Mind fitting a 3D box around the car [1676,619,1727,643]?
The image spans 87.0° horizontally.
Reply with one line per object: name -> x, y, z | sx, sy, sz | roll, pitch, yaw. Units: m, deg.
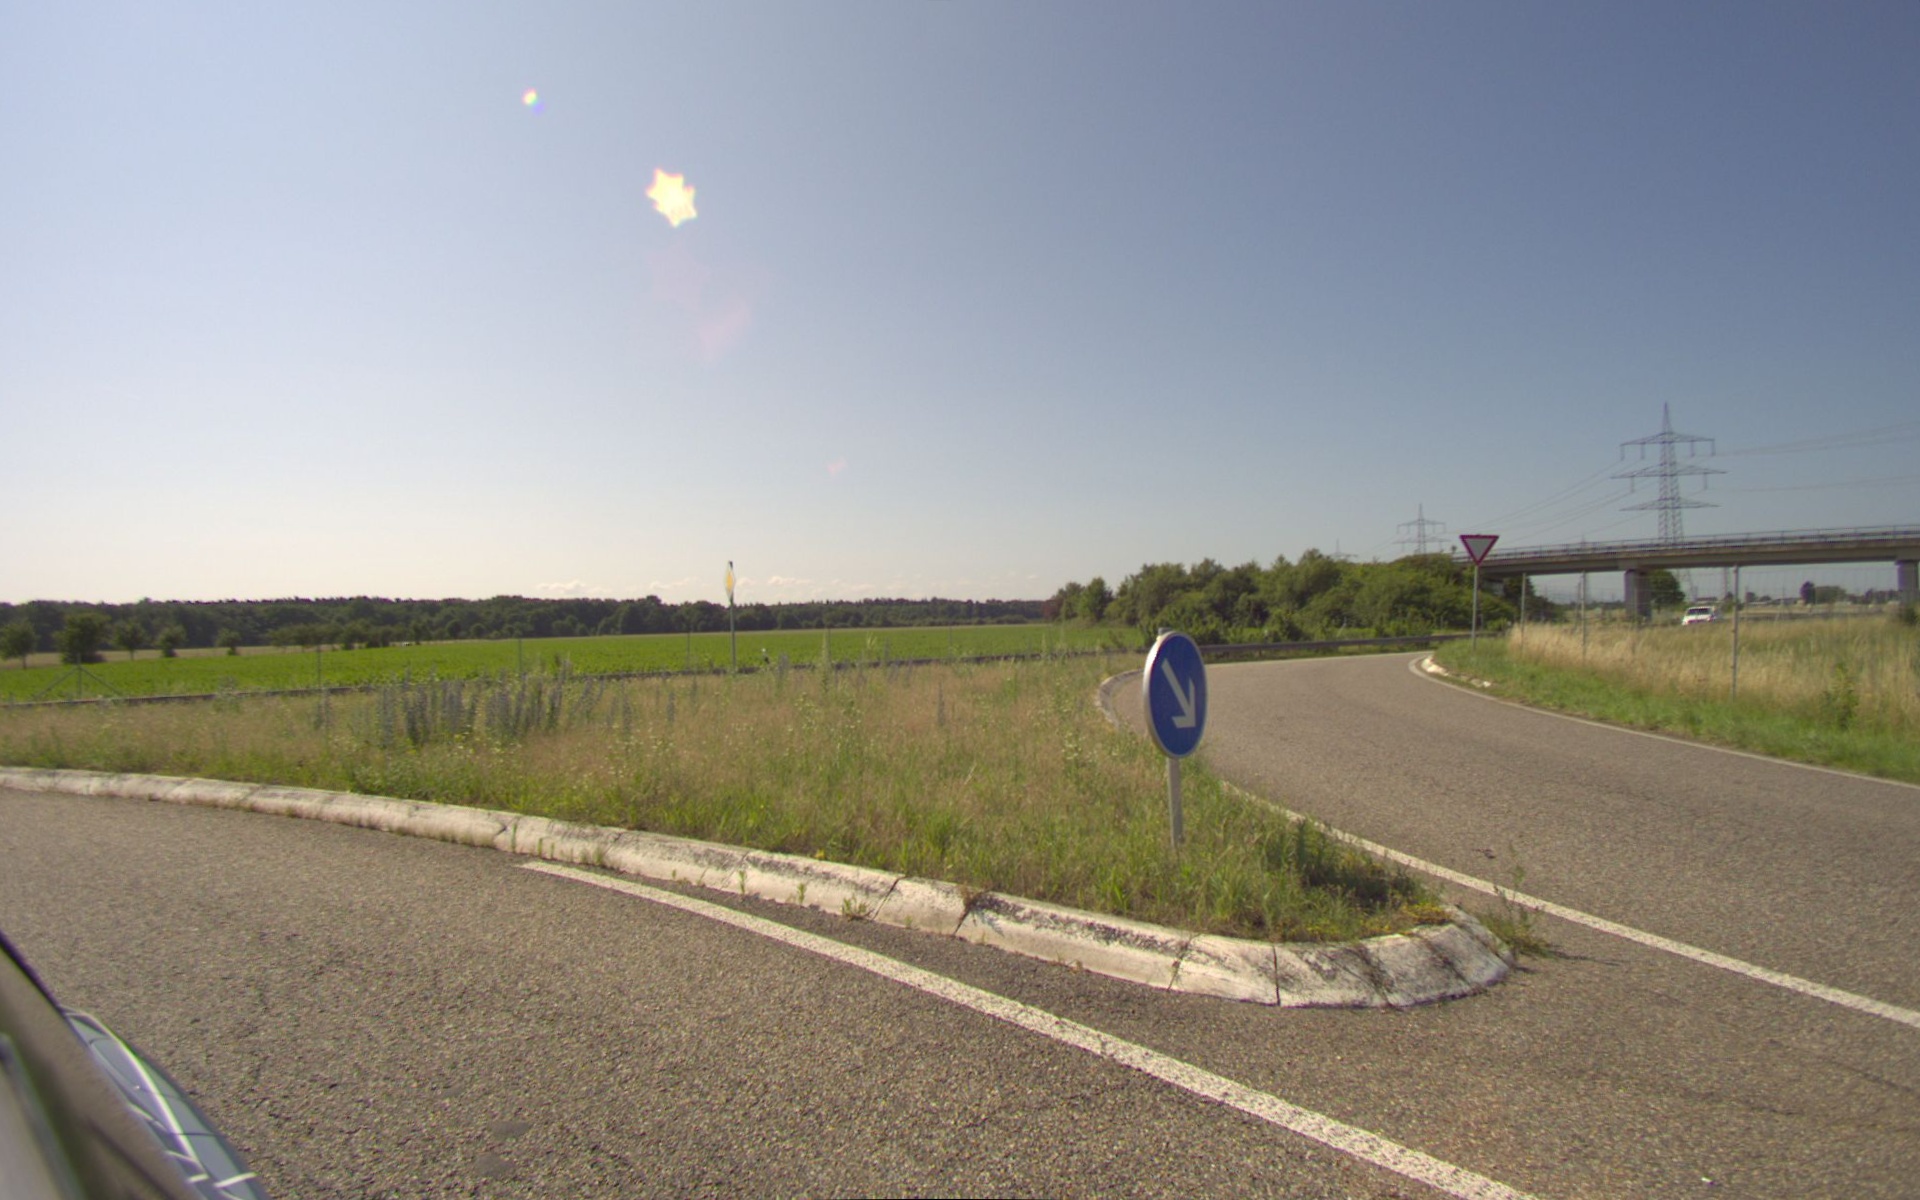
car -> 56.621, 2.353, 77.234 | 5.272, 1.652, 2.104 | -1, -1, -42
